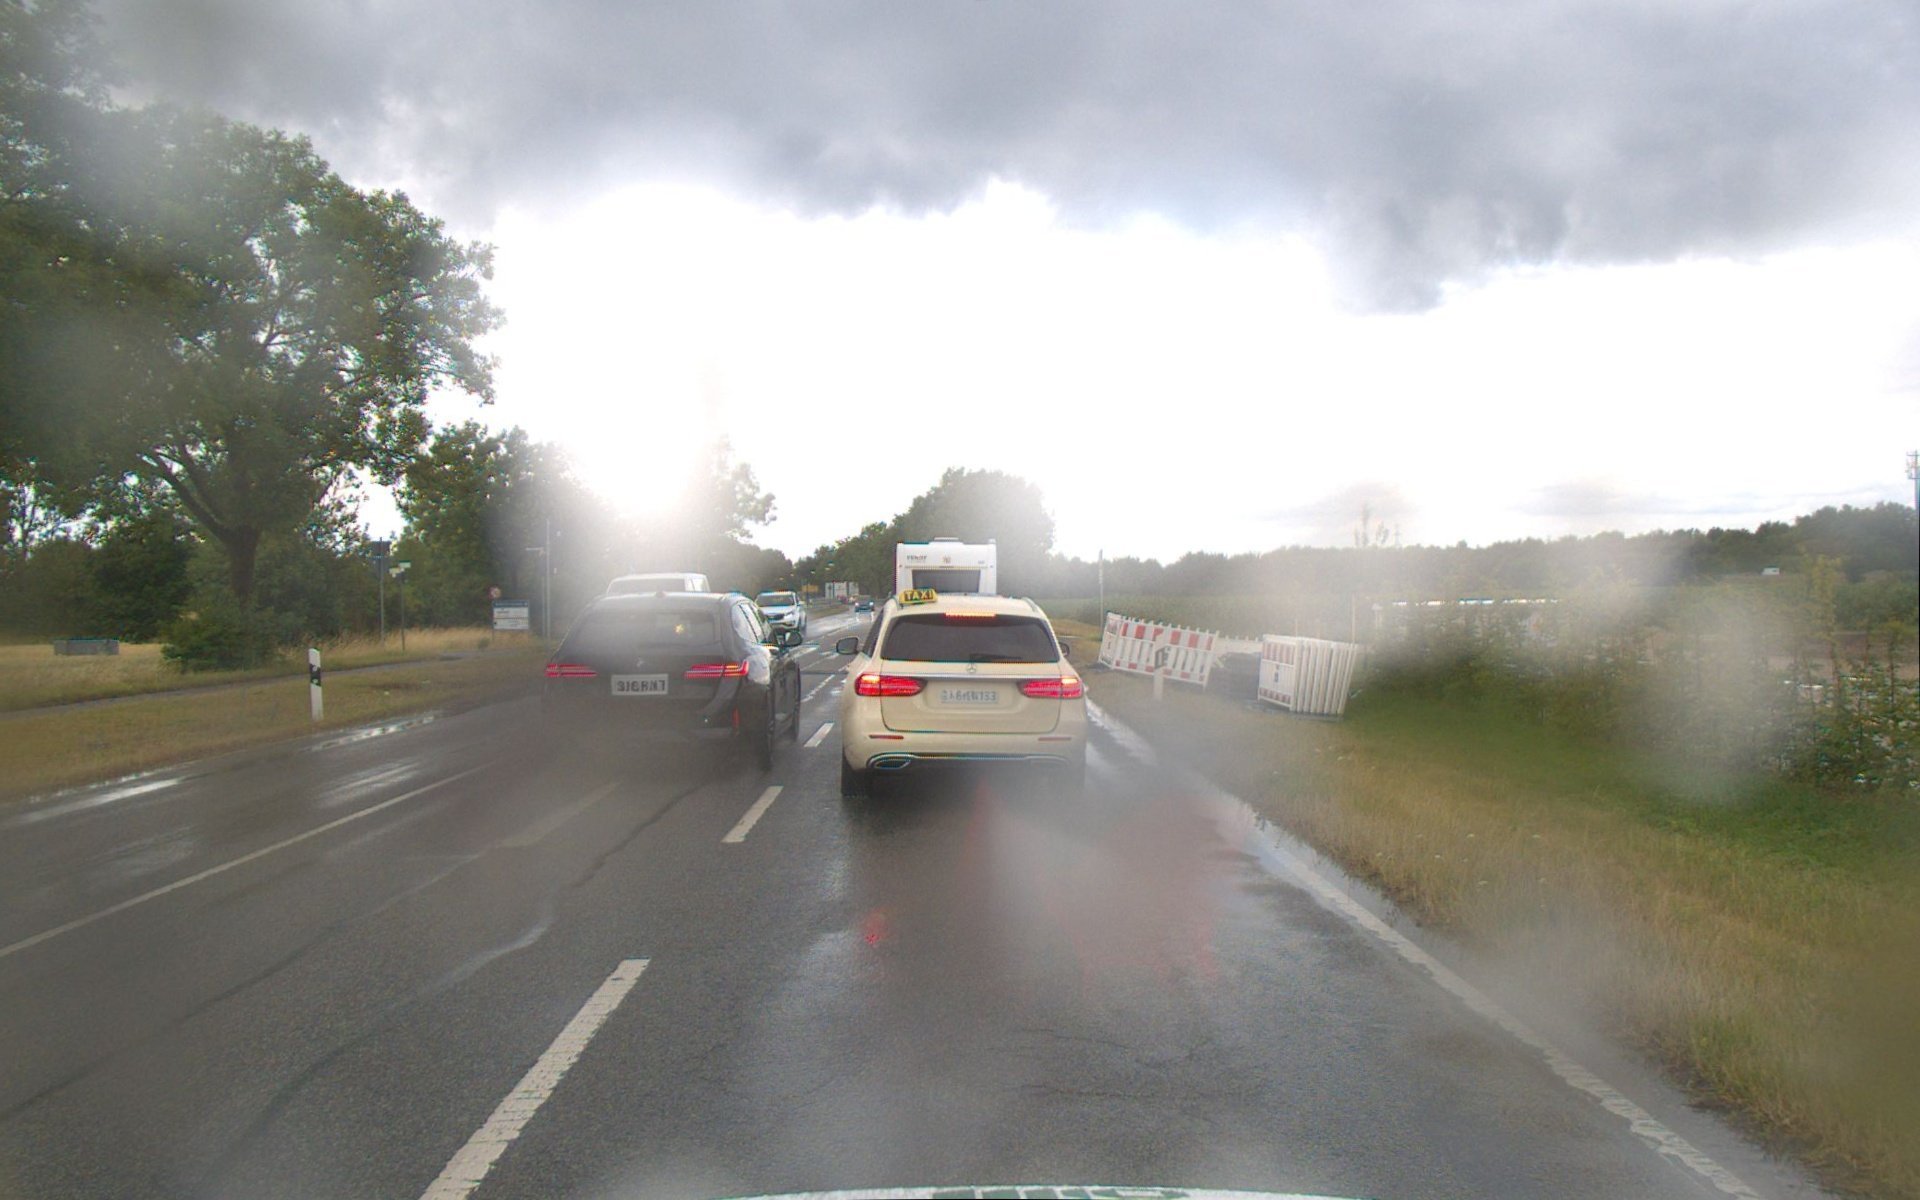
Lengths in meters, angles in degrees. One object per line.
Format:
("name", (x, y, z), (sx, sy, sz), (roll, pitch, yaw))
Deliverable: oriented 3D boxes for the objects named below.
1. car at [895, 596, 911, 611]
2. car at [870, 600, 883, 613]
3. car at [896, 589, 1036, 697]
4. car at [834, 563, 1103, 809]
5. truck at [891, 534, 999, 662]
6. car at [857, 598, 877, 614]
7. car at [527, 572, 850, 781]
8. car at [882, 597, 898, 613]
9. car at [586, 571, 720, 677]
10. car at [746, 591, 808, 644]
("car", (-6.259, 0.416, 182.042), (1.648, 1.578, 3.751), (1, 0, -2))
("car", (-12.912, 0.963, 255.009), (1.857, 1.871, 3.880), (-1, 0, -2))
("car", (0.034, 0.607, 25.292), (1.953, 1.488, 3.999), (1, 0, -2))
("car", (0.012, 0.579, 13.127), (1.805, 1.646, 3.999), (0, 0, -2))
("truck", (-0.418, -0.057, 39.978), (2.316, 2.776, 7.312), (-1, 0, -1))
("car", (-8.598, 0.526, 153.024), (1.685, 1.429, 4.042), (-3, 0, -2))
("car", (-2.236, 0.594, 15.021), (2.255, 1.574, 4.631), (1, 0, -2))
("car", (-8.814, 0.624, 207.200), (1.859, 1.928, 3.840), (-1, 0, -4))
("car", (-6.101, 0.456, 33.348), (1.878, 1.894, 4.683), (-3, 0, -2))
("car", (-6.461, 0.593, 58.752), (1.669, 1.700, 4.155), (-3, 0, 0))
